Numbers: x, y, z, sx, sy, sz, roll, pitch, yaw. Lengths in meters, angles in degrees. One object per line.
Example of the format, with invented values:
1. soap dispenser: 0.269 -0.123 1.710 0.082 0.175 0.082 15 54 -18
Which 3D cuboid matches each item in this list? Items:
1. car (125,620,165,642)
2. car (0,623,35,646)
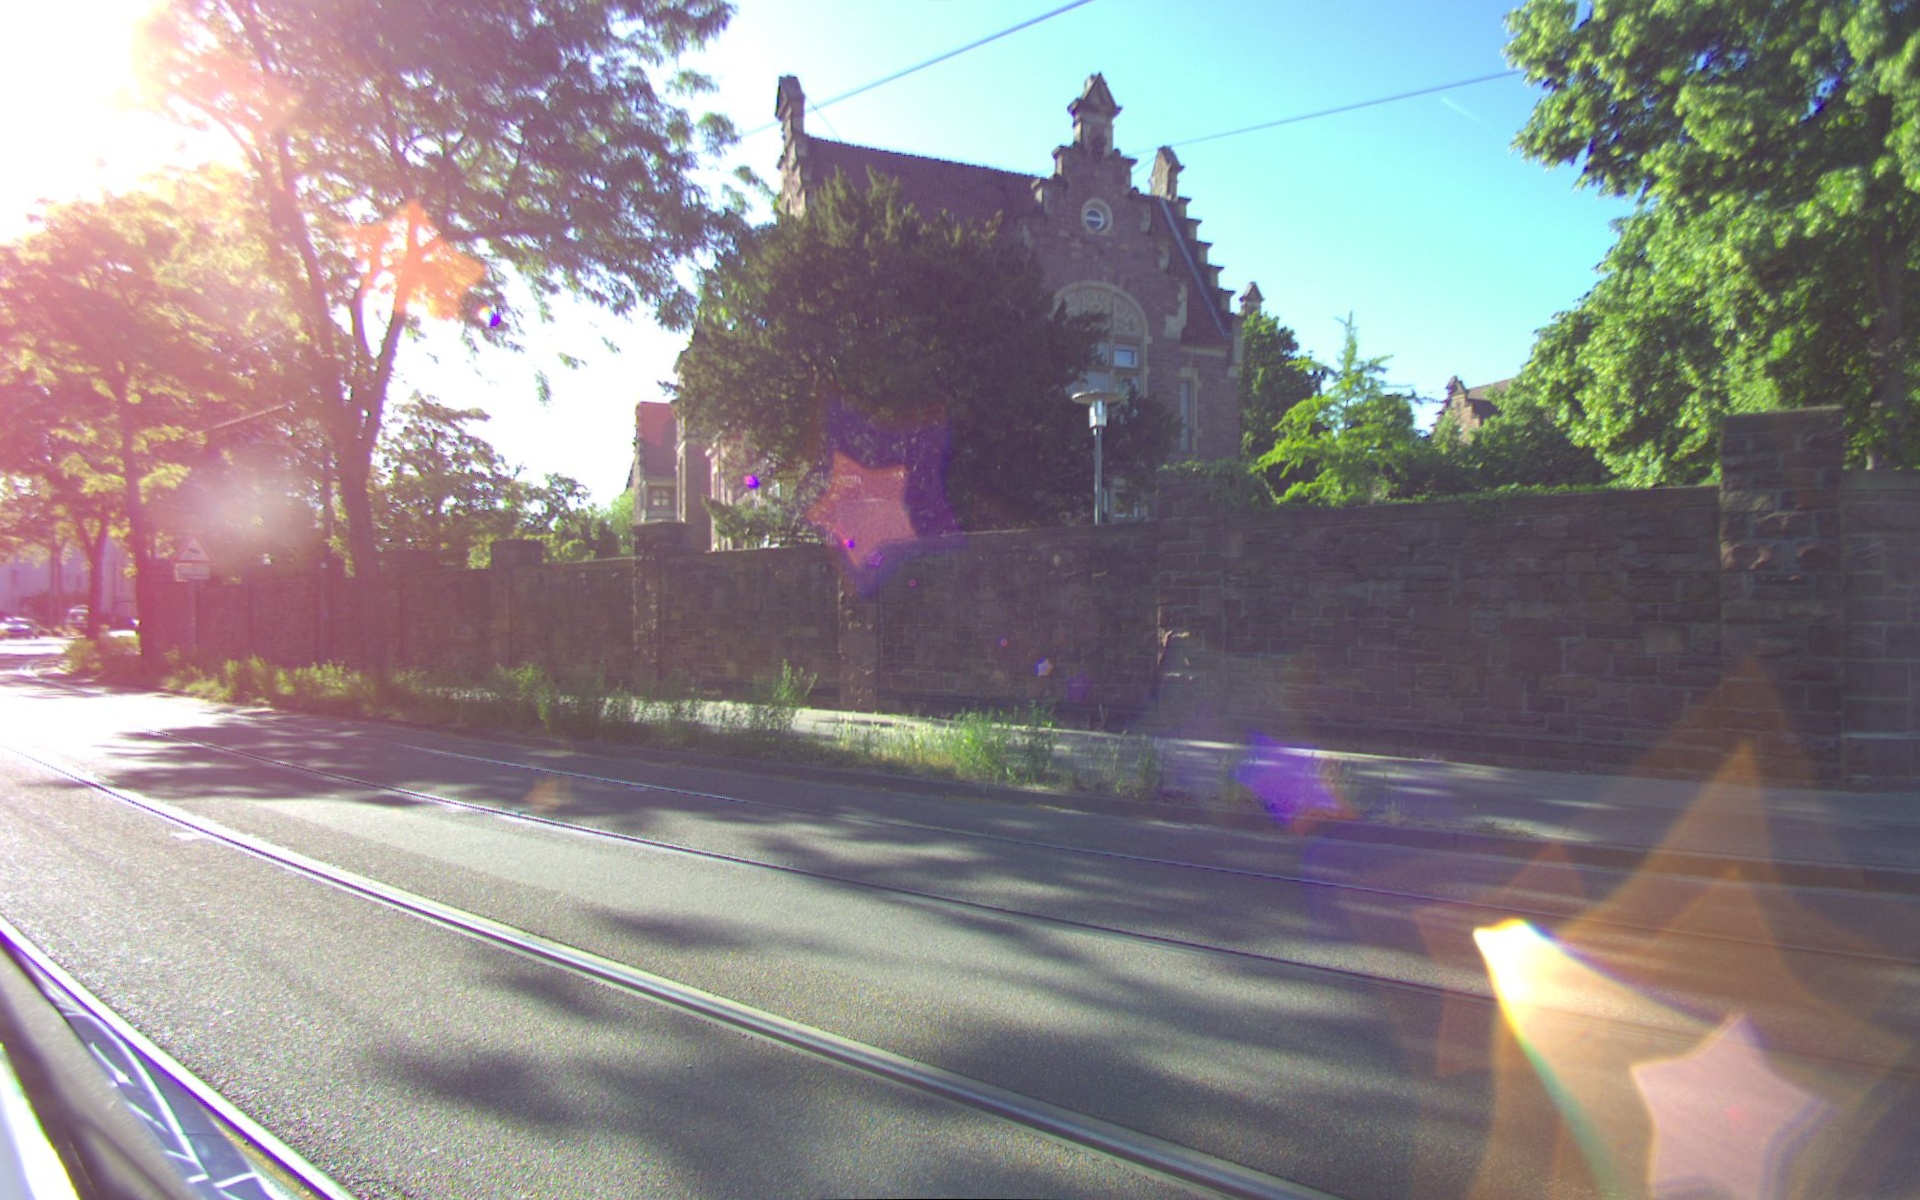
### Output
1. car: -71.475 2.671 88.813 1.846 1.830 4.983 0 -1 -28
2. car: -68.890 2.511 73.845 1.969 1.560 4.005 0 -1 -41
